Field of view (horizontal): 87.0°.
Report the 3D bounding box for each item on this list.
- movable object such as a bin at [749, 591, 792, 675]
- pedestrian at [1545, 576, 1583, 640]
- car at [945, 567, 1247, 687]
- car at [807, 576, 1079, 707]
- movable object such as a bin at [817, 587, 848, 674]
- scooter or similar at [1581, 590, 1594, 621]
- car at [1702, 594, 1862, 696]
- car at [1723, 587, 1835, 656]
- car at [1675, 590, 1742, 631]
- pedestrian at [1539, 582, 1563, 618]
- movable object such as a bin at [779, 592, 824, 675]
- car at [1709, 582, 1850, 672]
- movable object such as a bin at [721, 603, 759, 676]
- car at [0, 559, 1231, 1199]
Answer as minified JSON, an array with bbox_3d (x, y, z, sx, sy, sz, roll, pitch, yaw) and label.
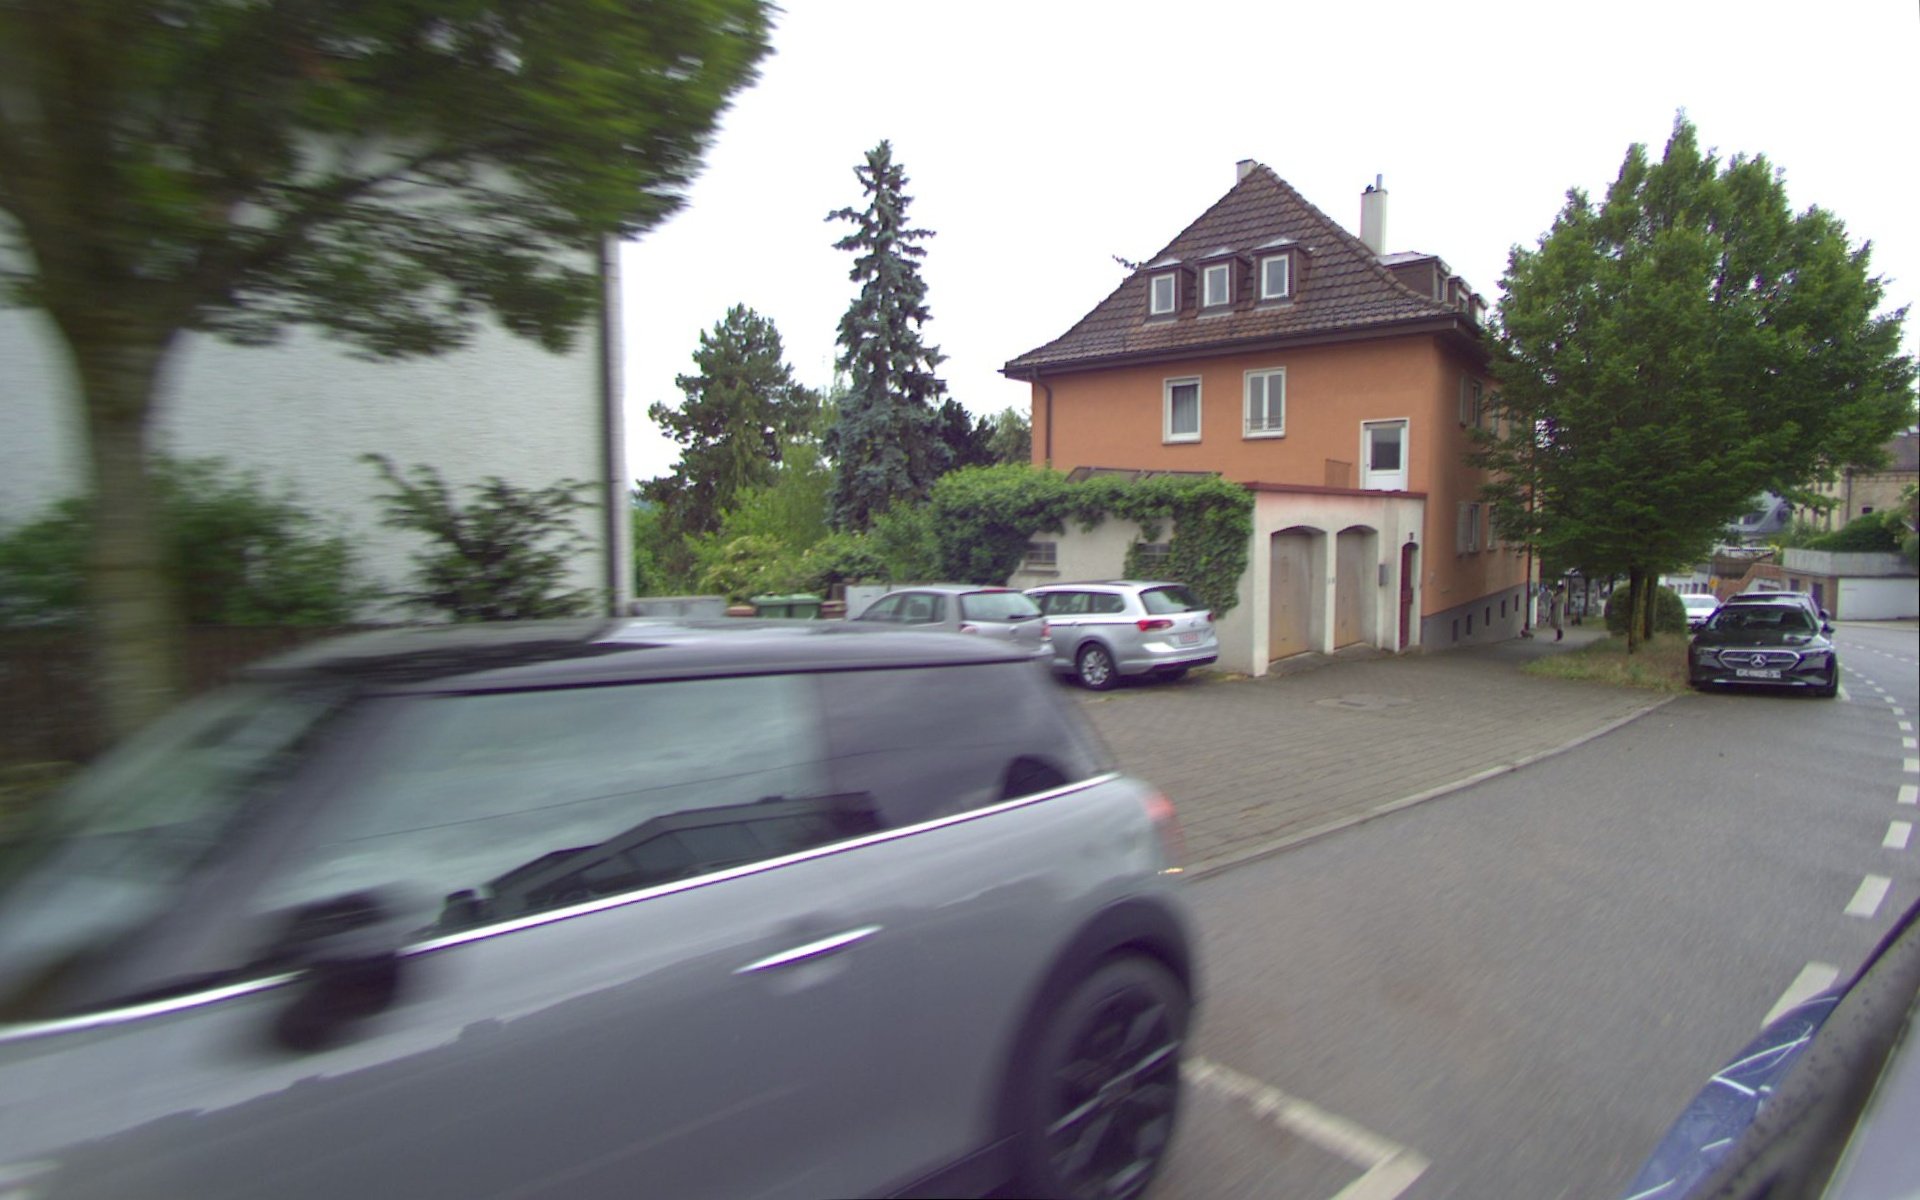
[{"bbox_3d":[-3.196,0.544,17.034,0.547,1.365,0.623,1,1,-25],"label":"movable object such as a bin"},{"bbox_3d":[17.262,0.222,28.915,0.758,1.741,0.891,4,2,35],"label":"pedestrian"},{"bbox_3d":[1.864,0.348,15.056,1.901,1.483,4.312,-3,1,-39],"label":"car"},{"bbox_3d":[-0.355,0.508,13.494,1.746,1.484,3.688,-1,-1,-38],"label":"car"},{"bbox_3d":[-2.185,0.518,17.280,0.387,1.455,0.447,1,1,-25],"label":"movable object such as a bin"},{"bbox_3d":[26.207,0.222,42.273,0.411,1.260,1.163,1,1,29],"label":"scooter or similar"},{"bbox_3d":[14.022,0.656,17.302,1.859,1.488,4.983,-2,-1,40],"label":"car"},{"bbox_3d":[21.199,0.482,26.371,1.848,1.601,4.798,1,1,34],"label":"car"},{"bbox_3d":[29.191,0.387,39.565,1.648,1.508,3.958,0,0,30],"label":"car"},{"bbox_3d":[28.866,0.005,49.454,0.828,1.706,1.035,4,2,28],"label":"pedestrian"},{"bbox_3d":[-2.709,0.553,17.261,0.581,1.368,0.623,1,1,-25],"label":"movable object such as a bin"},{"bbox_3d":[17.687,0.489,21.734,2.053,1.677,5.155,2,1,42],"label":"car"},{"bbox_3d":[-3.657,0.645,16.821,0.473,1.158,0.623,1,1,-25],"label":"movable object such as a bin"},{"bbox_3d":[-1.216,0.702,2.125,3.644,1.490,1.671,0,-1,-40],"label":"car"}]
